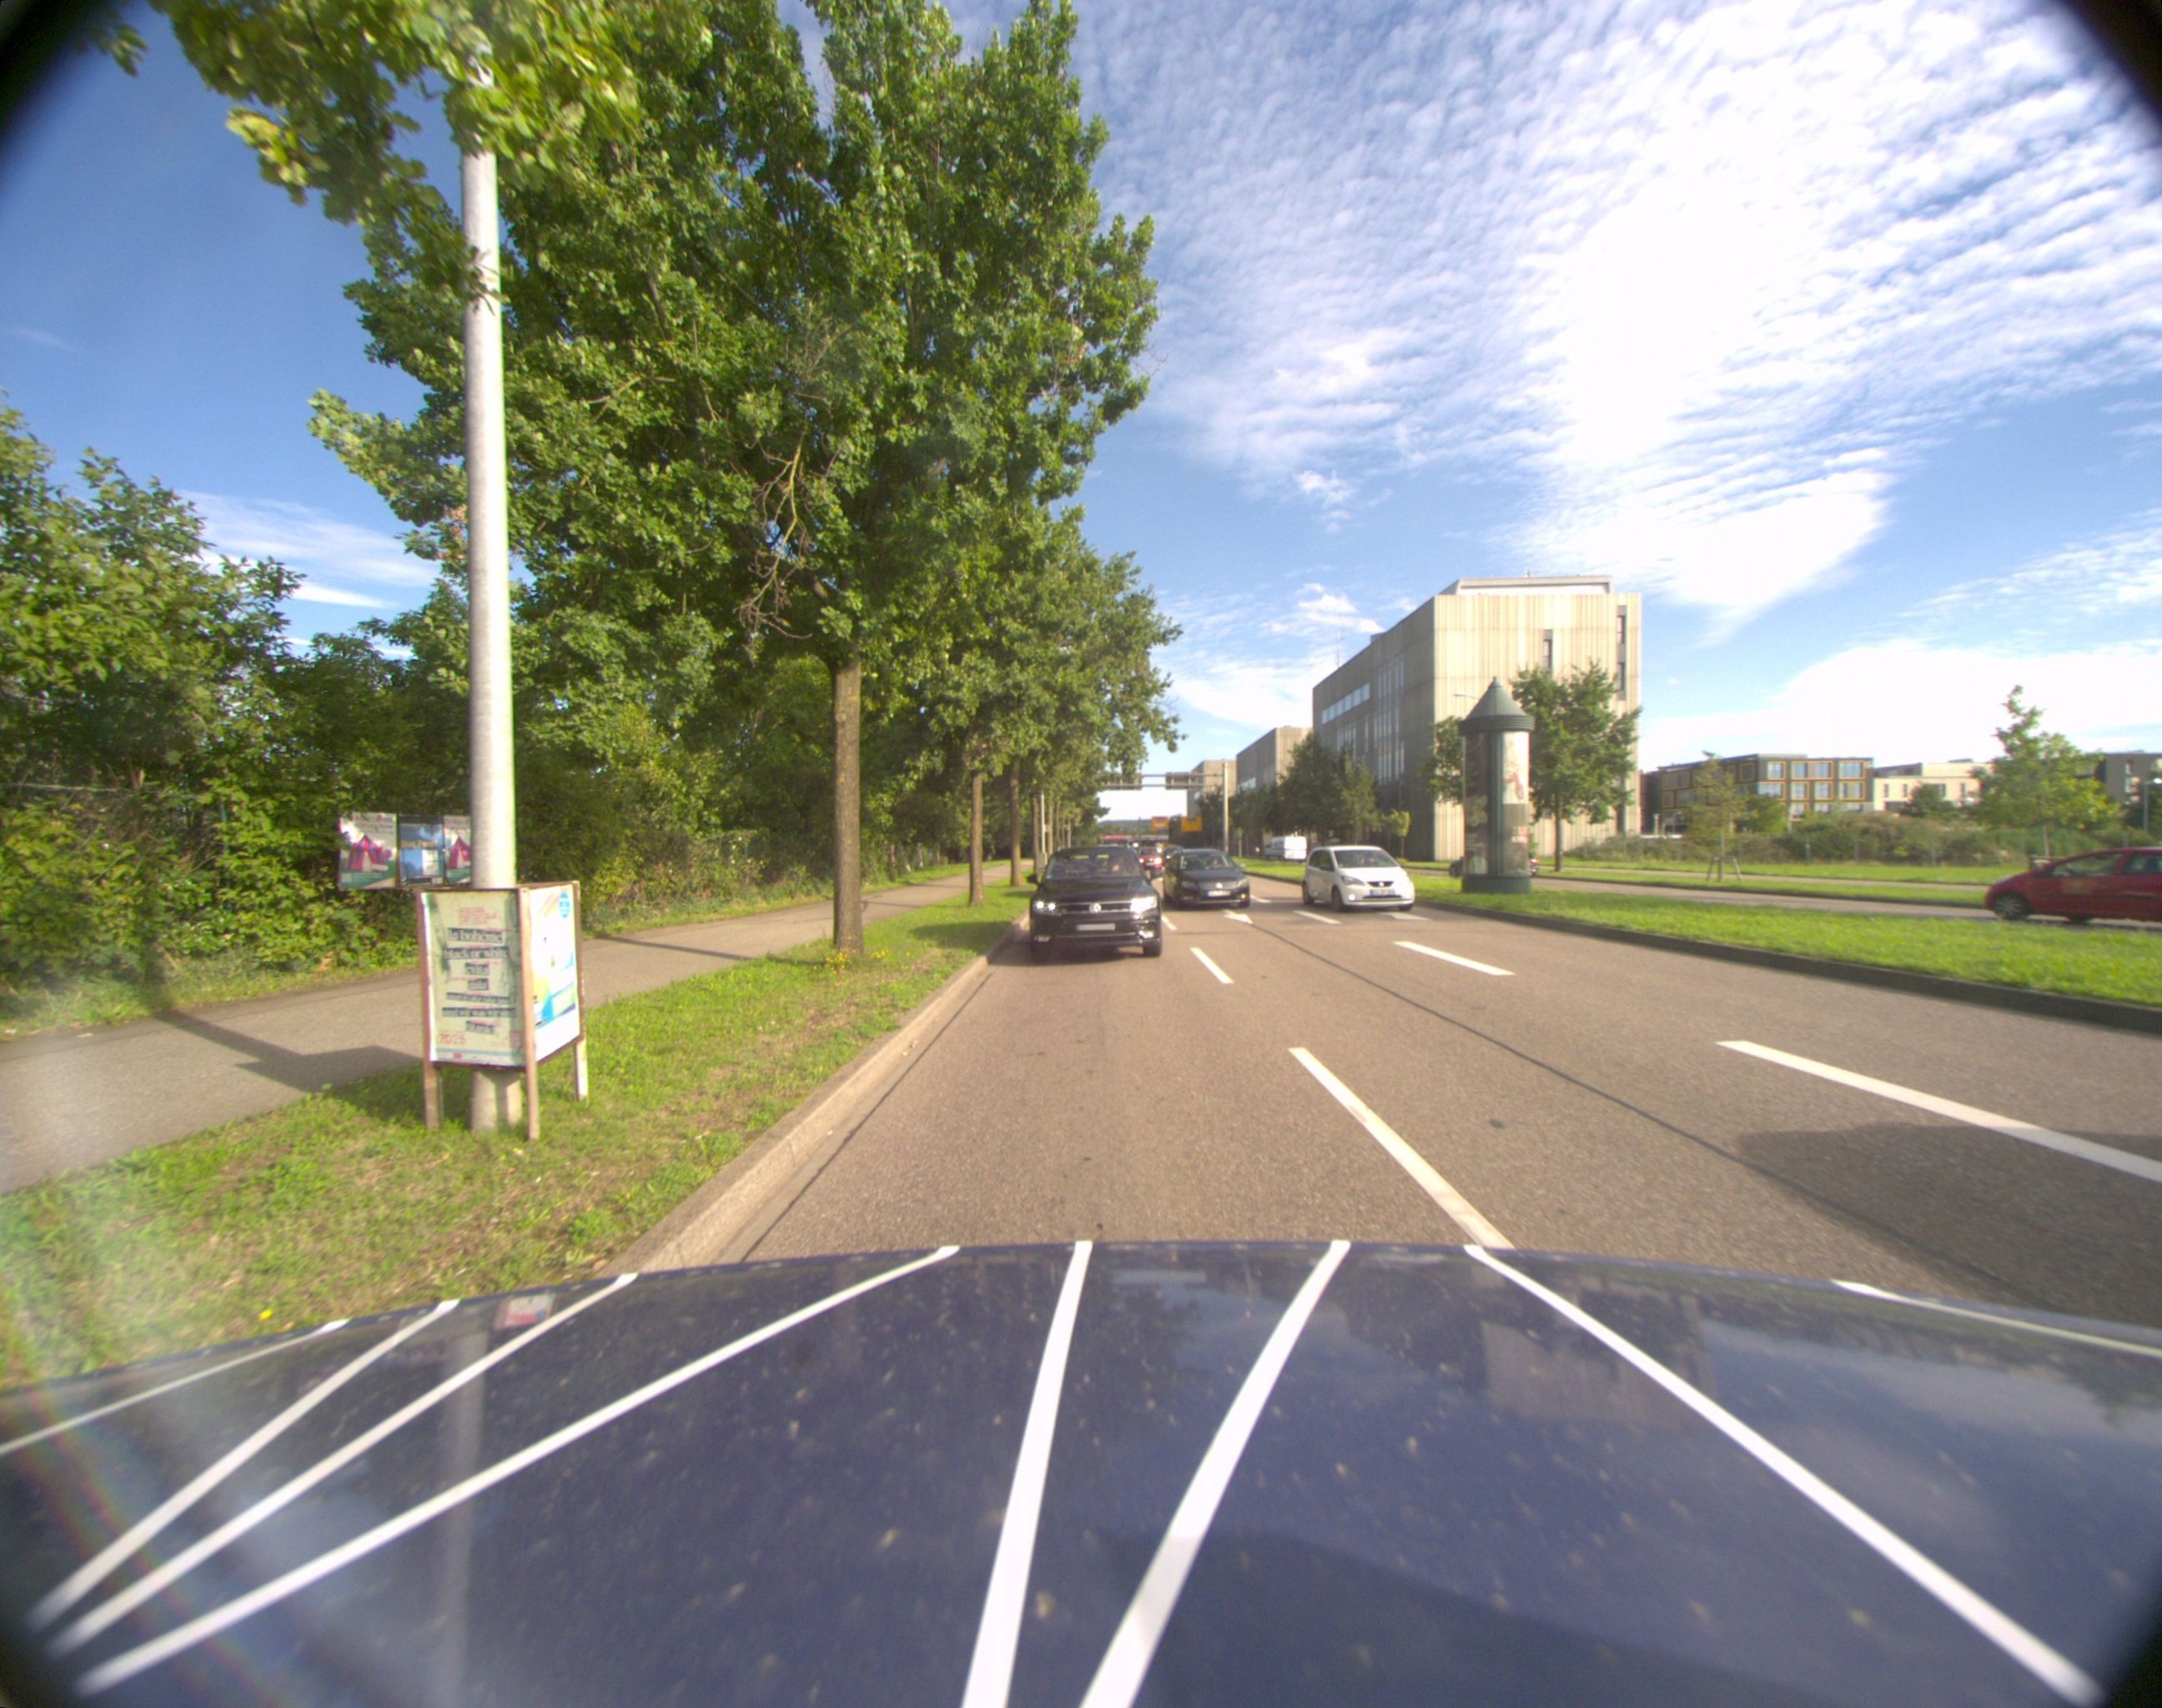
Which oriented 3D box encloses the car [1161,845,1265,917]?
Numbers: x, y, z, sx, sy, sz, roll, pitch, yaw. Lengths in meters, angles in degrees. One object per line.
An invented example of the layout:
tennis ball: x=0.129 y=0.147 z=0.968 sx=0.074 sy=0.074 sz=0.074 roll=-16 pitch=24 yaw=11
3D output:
car: x=3.312 y=0.601 z=20.003 sx=1.998 sy=1.557 sz=4.844 roll=-3 pitch=1 yaw=2

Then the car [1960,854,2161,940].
car: x=18.999 y=0.726 z=13.859 sx=1.685 sy=1.425 sz=3.589 roll=0 pitch=1 yaw=-4

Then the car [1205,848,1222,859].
car: x=19.722 y=-0.084 z=113.088 sx=1.855 sy=1.456 sz=4.454 roll=-2 pitch=1 yaw=1

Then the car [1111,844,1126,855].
car: x=5.800 y=-0.693 z=118.141 sx=1.998 sy=1.652 sz=4.802 roll=0 pitch=1 yaw=0

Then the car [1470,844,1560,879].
car: x=20.944 y=0.329 z=36.910 sx=1.855 sy=1.563 sz=4.454 roll=1 pitch=1 yaw=1

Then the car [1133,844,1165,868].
car: x=4.452 y=0.110 z=50.366 sx=1.694 sy=1.466 sz=4.225 roll=-1 pitch=1 yaw=0

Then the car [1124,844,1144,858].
car: x=5.659 y=-0.328 z=81.054 sx=1.855 sy=1.456 sz=4.454 roll=-2 pitch=1 yaw=1

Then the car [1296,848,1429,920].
car: x=6.406 y=0.614 z=17.708 sx=1.766 sy=1.456 sz=3.660 roll=-2 pitch=1 yaw=1

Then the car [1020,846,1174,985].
car: x=0.216 y=0.757 z=12.065 sx=1.871 sy=1.685 sz=5.014 roll=-2 pitch=0 yaw=0

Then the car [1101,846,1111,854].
car: x=4.448 y=-0.700 z=137.396 sx=1.736 sy=1.381 sz=4.000 roll=0 pitch=1 yaw=1

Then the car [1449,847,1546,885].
car: x=17.488 y=0.463 z=32.131 sx=1.855 sy=1.425 sz=4.067 roll=2 pitch=1 yaw=1

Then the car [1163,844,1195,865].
car: x=7.299 y=0.017 z=56.964 sx=1.823 sy=1.412 sz=4.447 roll=-2 pitch=1 yaw=1

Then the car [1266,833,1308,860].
car: x=17.966 y=-0.655 z=66.650 sx=2.032 sy=2.241 sz=5.540 roll=1 pitch=1 yaw=-1
